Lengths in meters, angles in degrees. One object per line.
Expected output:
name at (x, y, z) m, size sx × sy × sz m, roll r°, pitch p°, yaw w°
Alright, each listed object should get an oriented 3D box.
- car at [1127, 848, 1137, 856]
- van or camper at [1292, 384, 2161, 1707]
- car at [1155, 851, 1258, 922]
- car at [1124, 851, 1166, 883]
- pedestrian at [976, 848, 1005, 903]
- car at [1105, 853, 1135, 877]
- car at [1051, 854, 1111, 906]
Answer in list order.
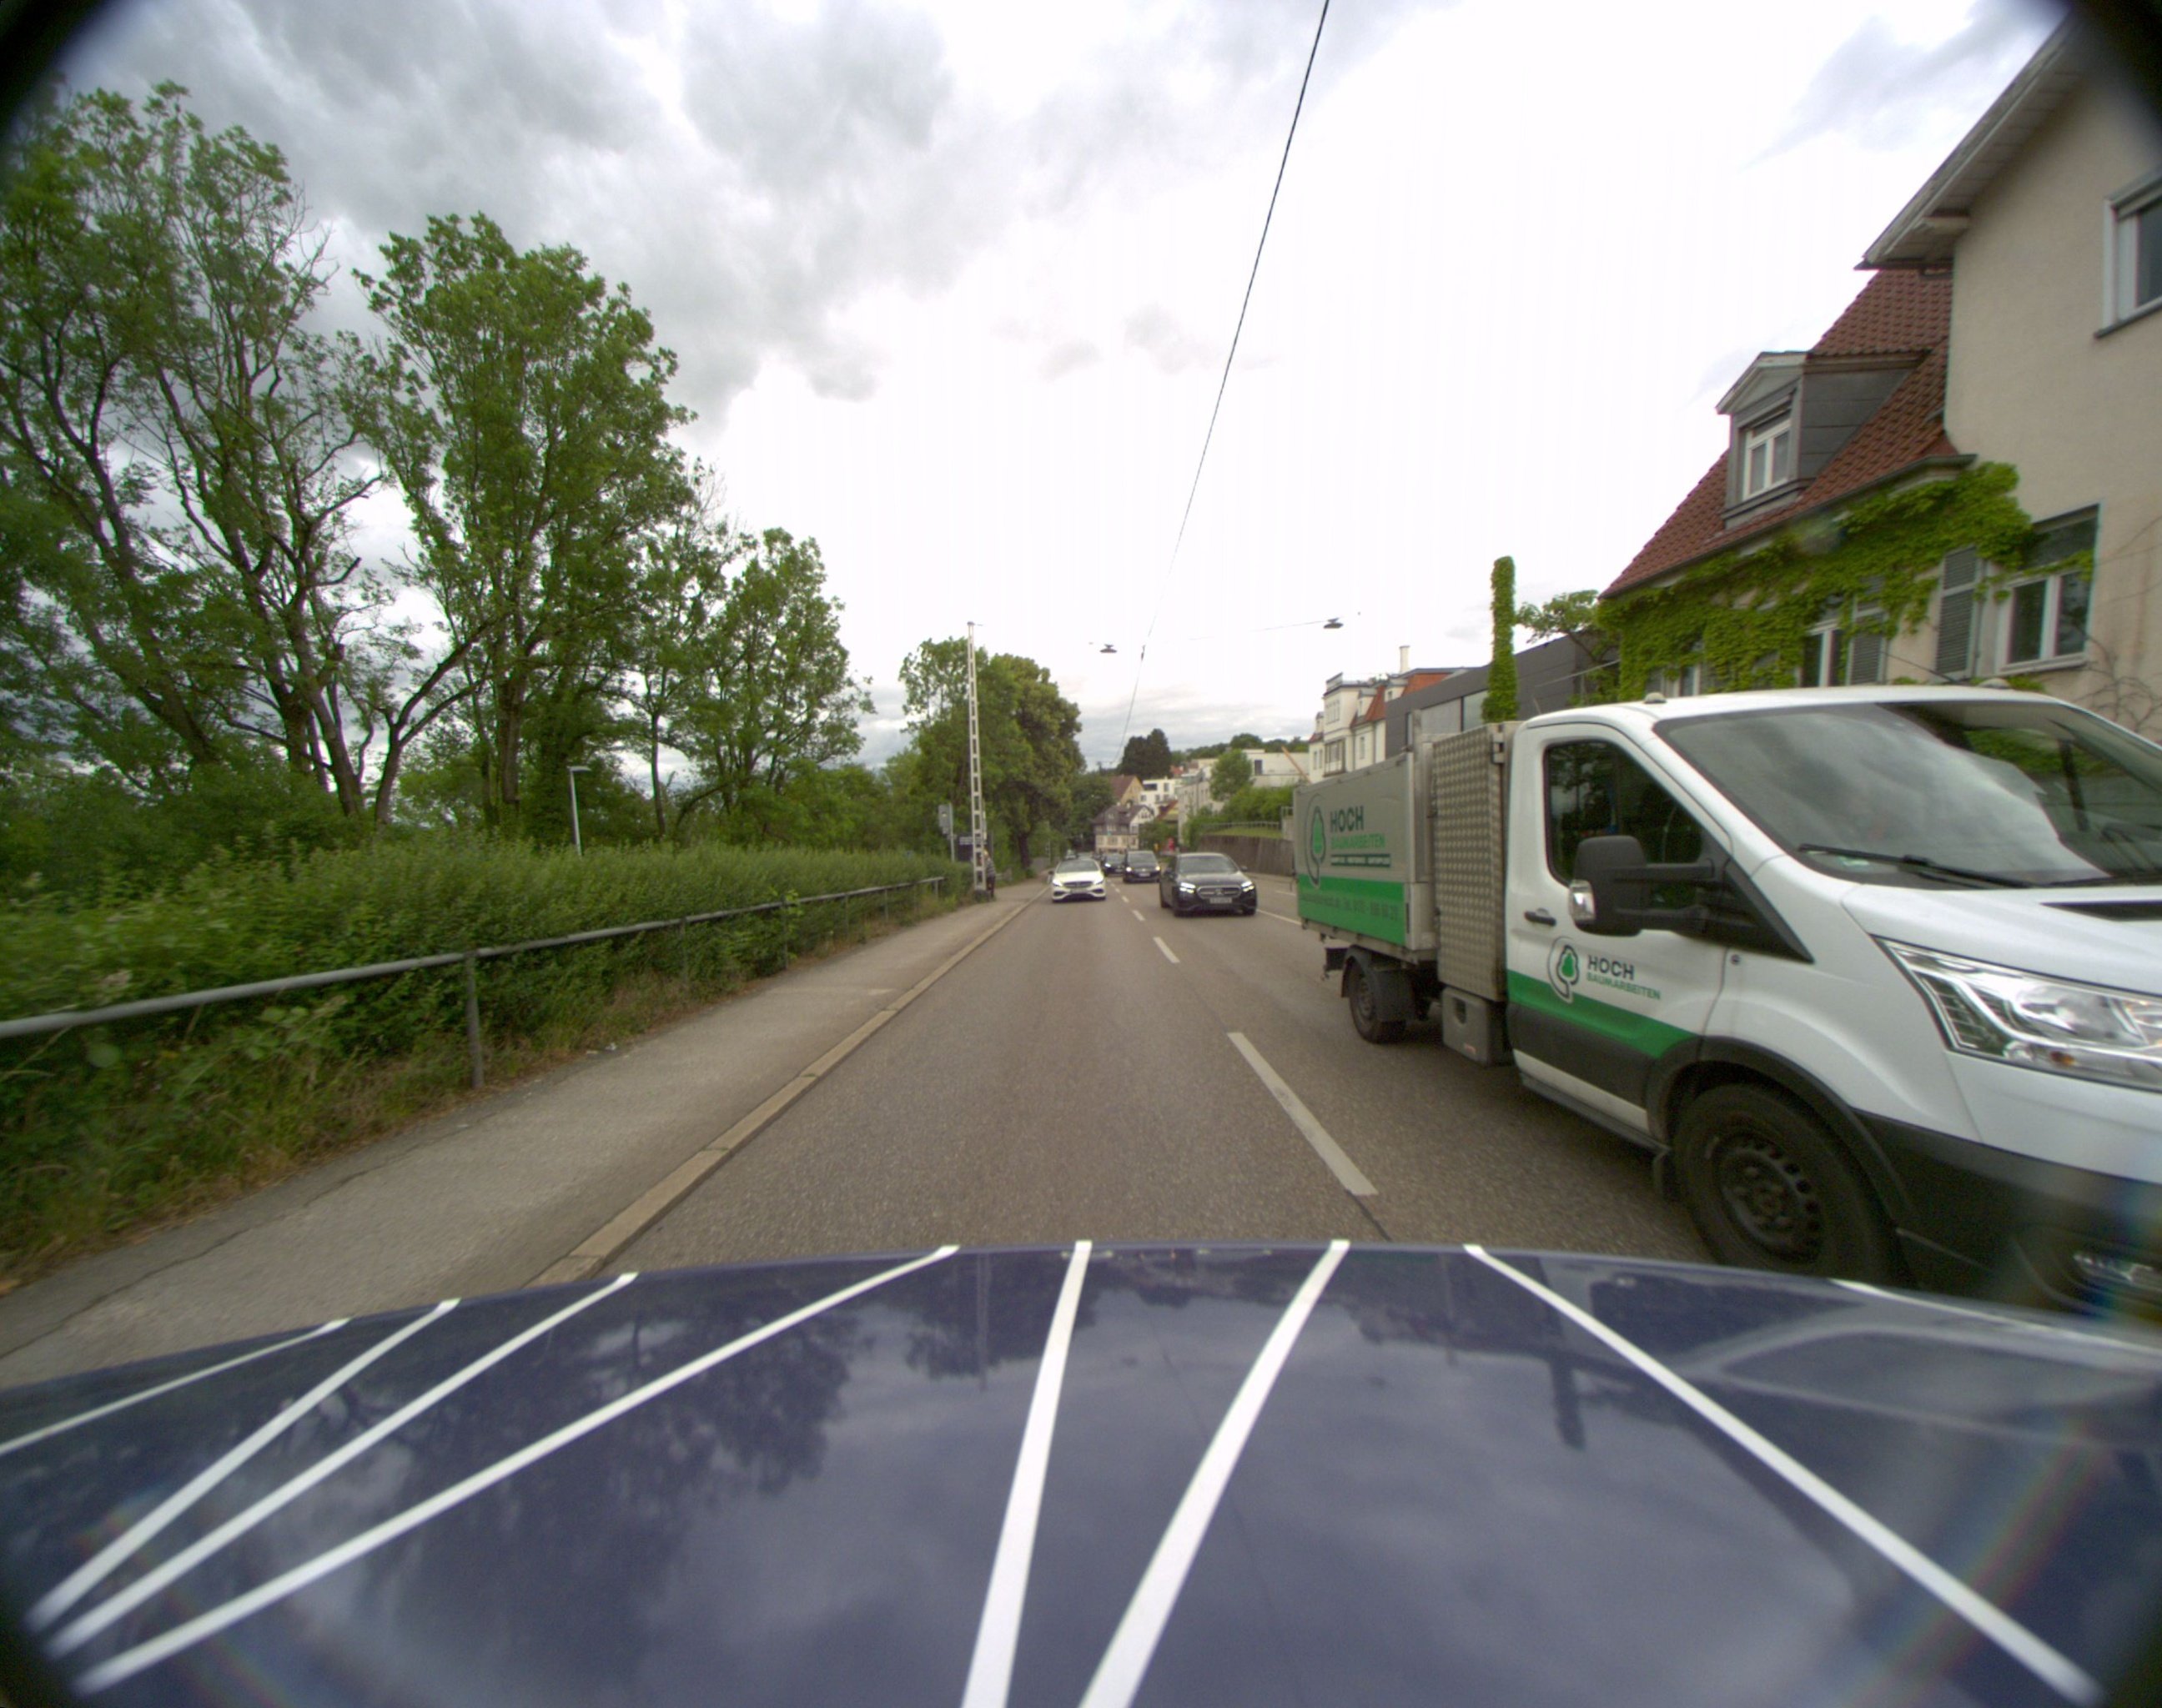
car at (10.055, -0.400, 151.215) m, size 1.709 × 1.702 × 3.868 m, roll -1°, pitch 0°, yaw 1°
van or camper at (3.143, 0.343, 4.106) m, size 2.349 × 2.647 × 5.962 m, roll -3°, pitch 2°, yaw 1°
car at (3.003, 0.707, 19.033) m, size 1.878 × 1.521 × 4.335 m, roll -2°, pitch 0°, yaw 1°
car at (3.236, 0.624, 39.141) m, size 1.878 × 1.521 × 4.000 m, roll -2°, pitch 0°, yaw 1°
pedestrian at (-3.130, 0.750, 26.367) m, size 0.814 × 1.873 × 0.949 m, roll 0°, pitch 0°, yaw 5°
car at (2.611, 0.714, 51.896) m, size 1.878 × 1.521 × 4.000 m, roll -2°, pitch 0°, yaw 1°
car at (0.025, 0.825, 26.434) m, size 1.809 × 1.521 × 4.000 m, roll -4°, pitch 0°, yaw 1°
